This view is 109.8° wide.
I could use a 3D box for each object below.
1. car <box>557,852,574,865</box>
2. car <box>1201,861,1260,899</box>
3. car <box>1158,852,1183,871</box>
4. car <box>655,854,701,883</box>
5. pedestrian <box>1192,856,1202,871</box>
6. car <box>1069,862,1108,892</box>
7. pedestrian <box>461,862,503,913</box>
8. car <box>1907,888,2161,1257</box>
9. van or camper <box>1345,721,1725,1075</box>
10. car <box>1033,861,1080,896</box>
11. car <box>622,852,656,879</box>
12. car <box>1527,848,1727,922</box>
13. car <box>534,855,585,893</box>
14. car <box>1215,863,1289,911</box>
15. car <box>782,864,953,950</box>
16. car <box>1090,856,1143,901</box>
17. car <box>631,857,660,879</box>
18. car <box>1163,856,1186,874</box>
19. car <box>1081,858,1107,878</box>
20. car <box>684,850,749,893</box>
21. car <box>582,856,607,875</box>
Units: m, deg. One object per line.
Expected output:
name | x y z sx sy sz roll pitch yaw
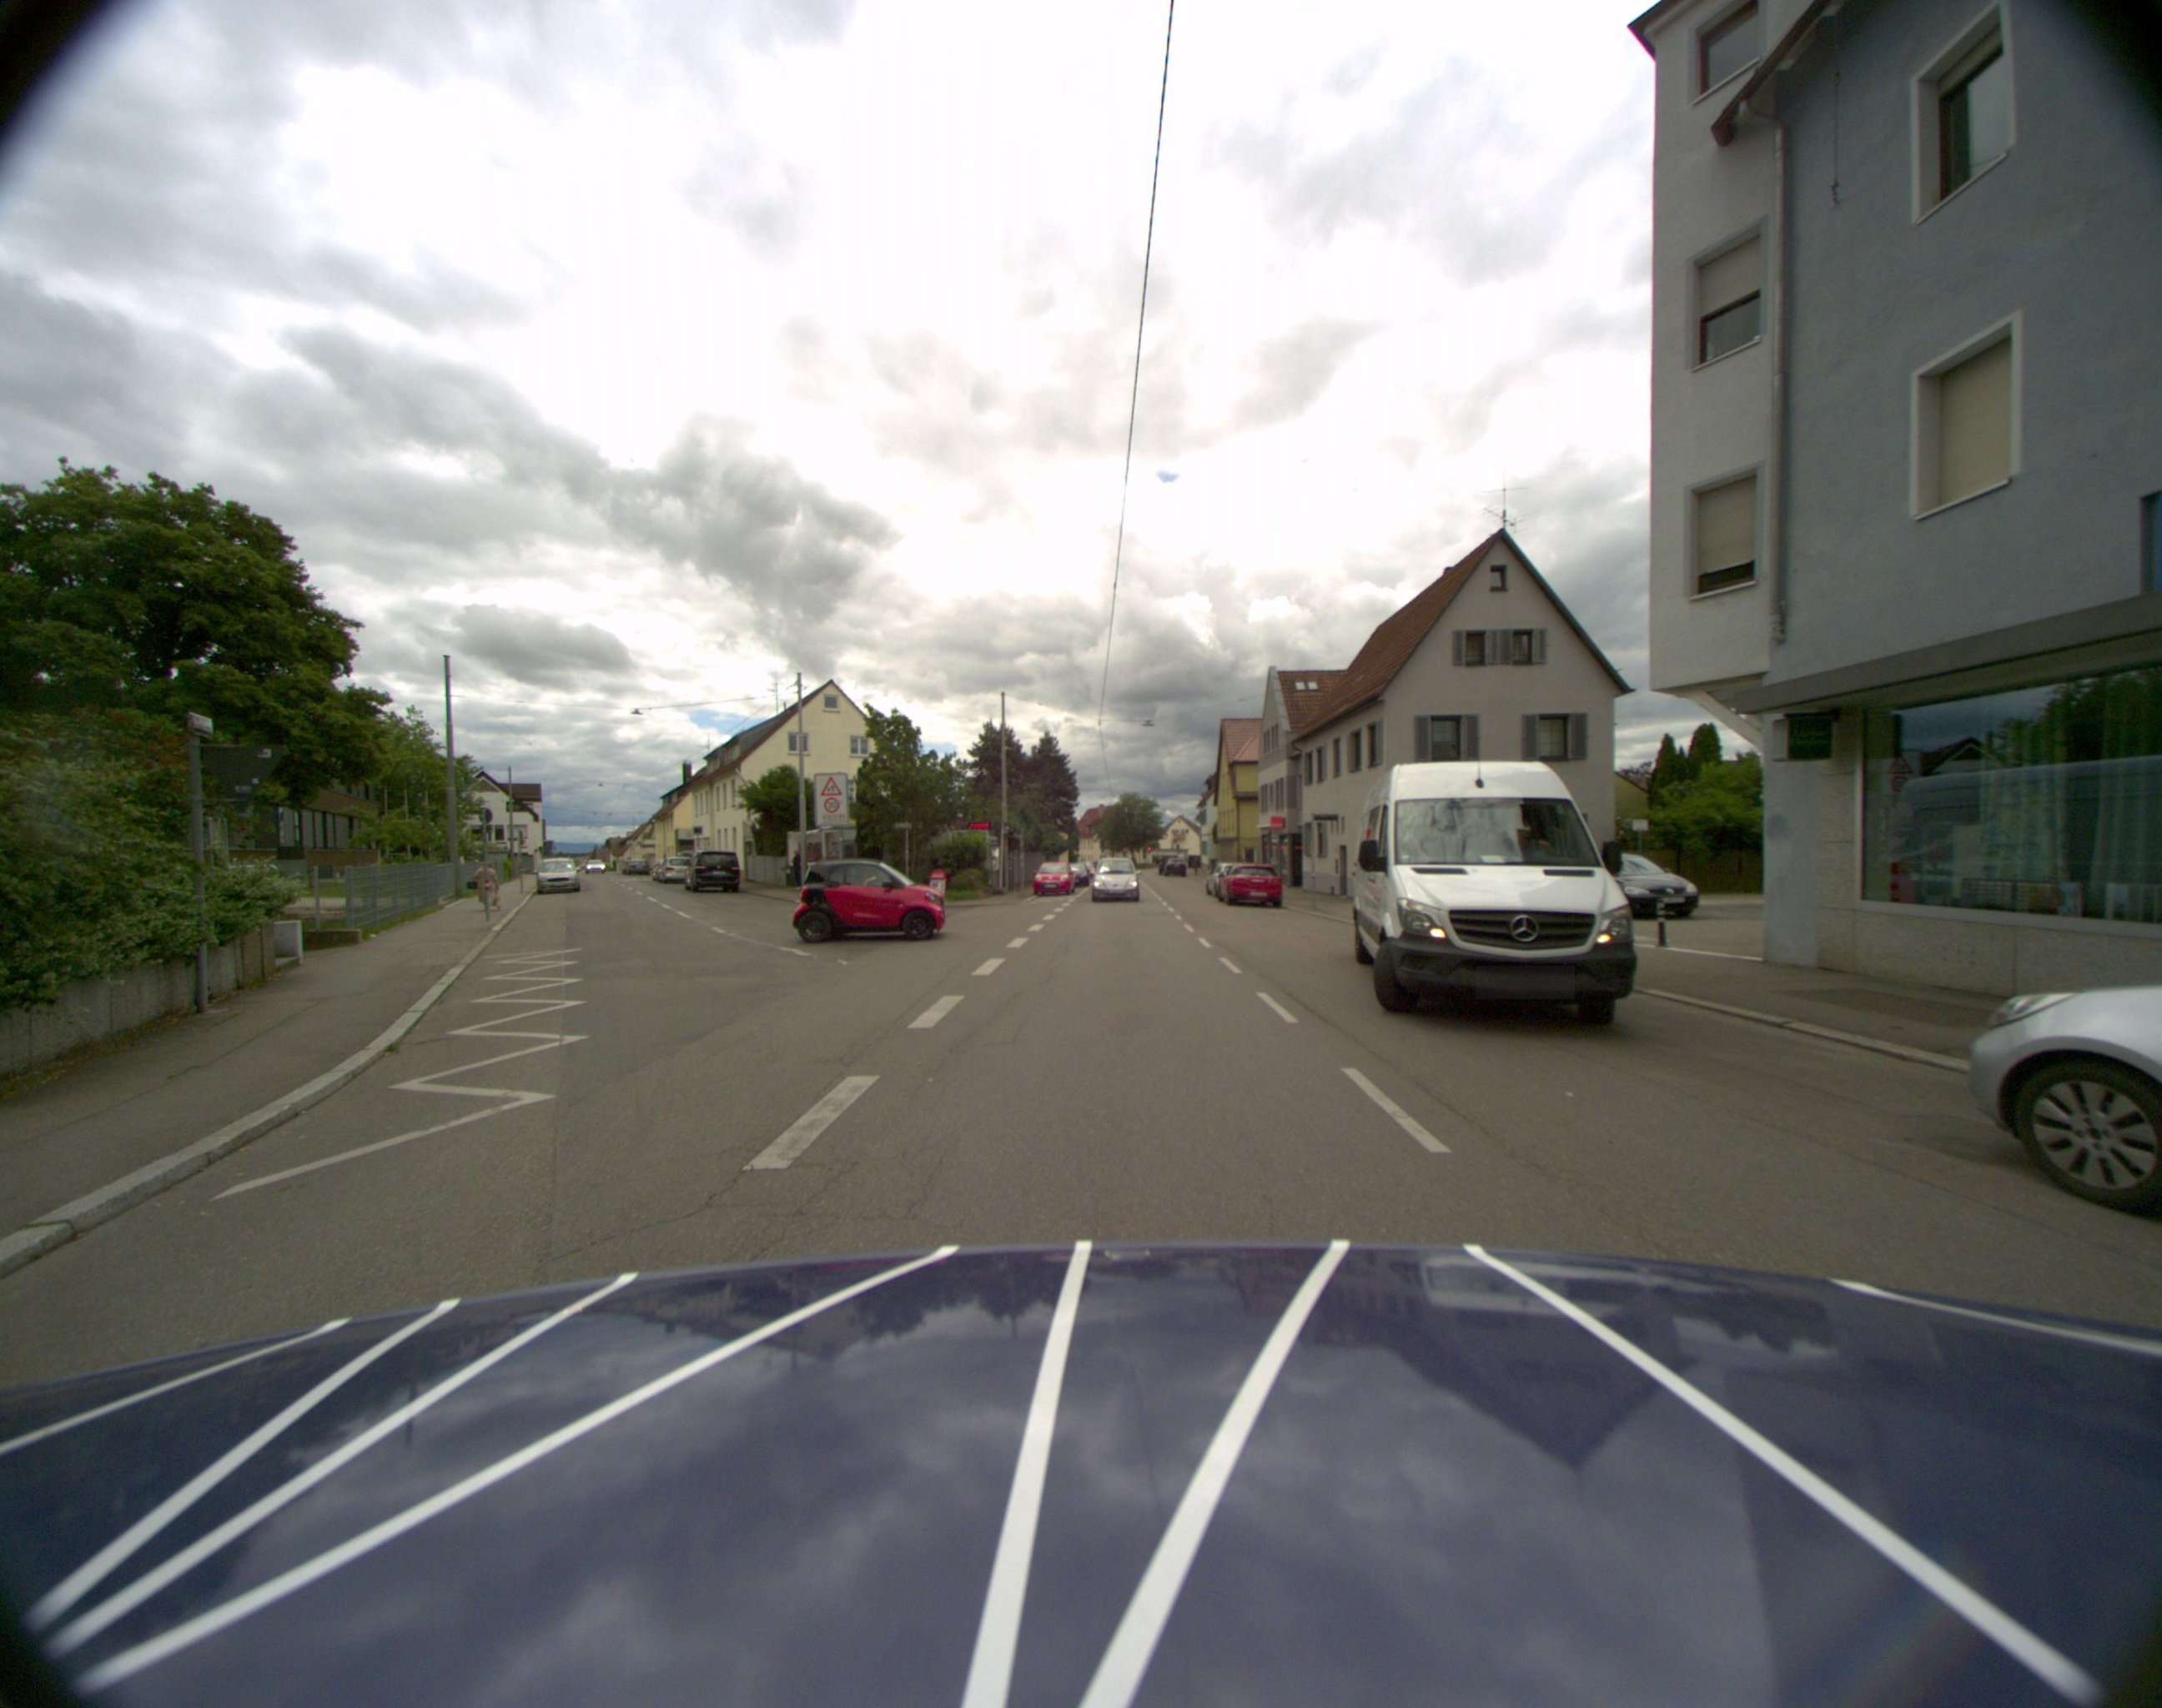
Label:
car | -80.981 0.659 119.346 2.004 2.002 4.381 0 0 -36
car | 6.328 1.067 32.577 1.782 1.465 4.353 2 0 2
car | 8.705 0.742 73.940 2.111 1.838 4.353 0 0 3
car | -24.811 0.848 46.744 2.004 1.663 4.382 0 0 -34
pedestrian | 10.670 0.910 69.795 0.832 1.368 0.551 0 0 4
car | 0.444 1.241 42.260 1.818 1.472 4.001 -4 0 4
pedestrian | -18.765 1.030 23.826 0.902 1.527 0.957 -1 1 -33
car | 5.092 0.866 1.880 1.802 1.403 4.000 0 0 1
van or camper | 4.474 0.334 8.861 2.322 2.592 6.215 0 0 16
car | -1.071 1.067 34.827 1.718 1.472 4.001 0 0 4
car | -34.282 0.876 58.884 2.004 2.002 4.382 0 0 -34
car | 13.288 0.691 18.907 1.998 1.543 4.417 -3 0 4
car | -26.020 0.944 37.854 2.004 1.731 4.381 0 0 -36
car | 5.916 1.082 26.776 1.863 1.465 4.354 2 0 4
car | -4.048 0.973 14.819 2.939 1.511 1.819 0 0 -7
car | 1.354 0.864 28.743 1.857 1.547 4.353 0 0 3
car | -40.745 1.304 71.083 2.004 2.002 4.382 0 0 -34
car | 8.273 0.961 67.290 1.717 1.558 4.353 0 0 3
car | 1.136 1.142 64.351 1.995 1.490 4.353 -3 0 3
car | -16.729 0.755 34.770 2.004 1.866 4.382 0 0 -34
car | -53.190 1.255 83.081 2.004 2.002 4.381 0 0 -36
